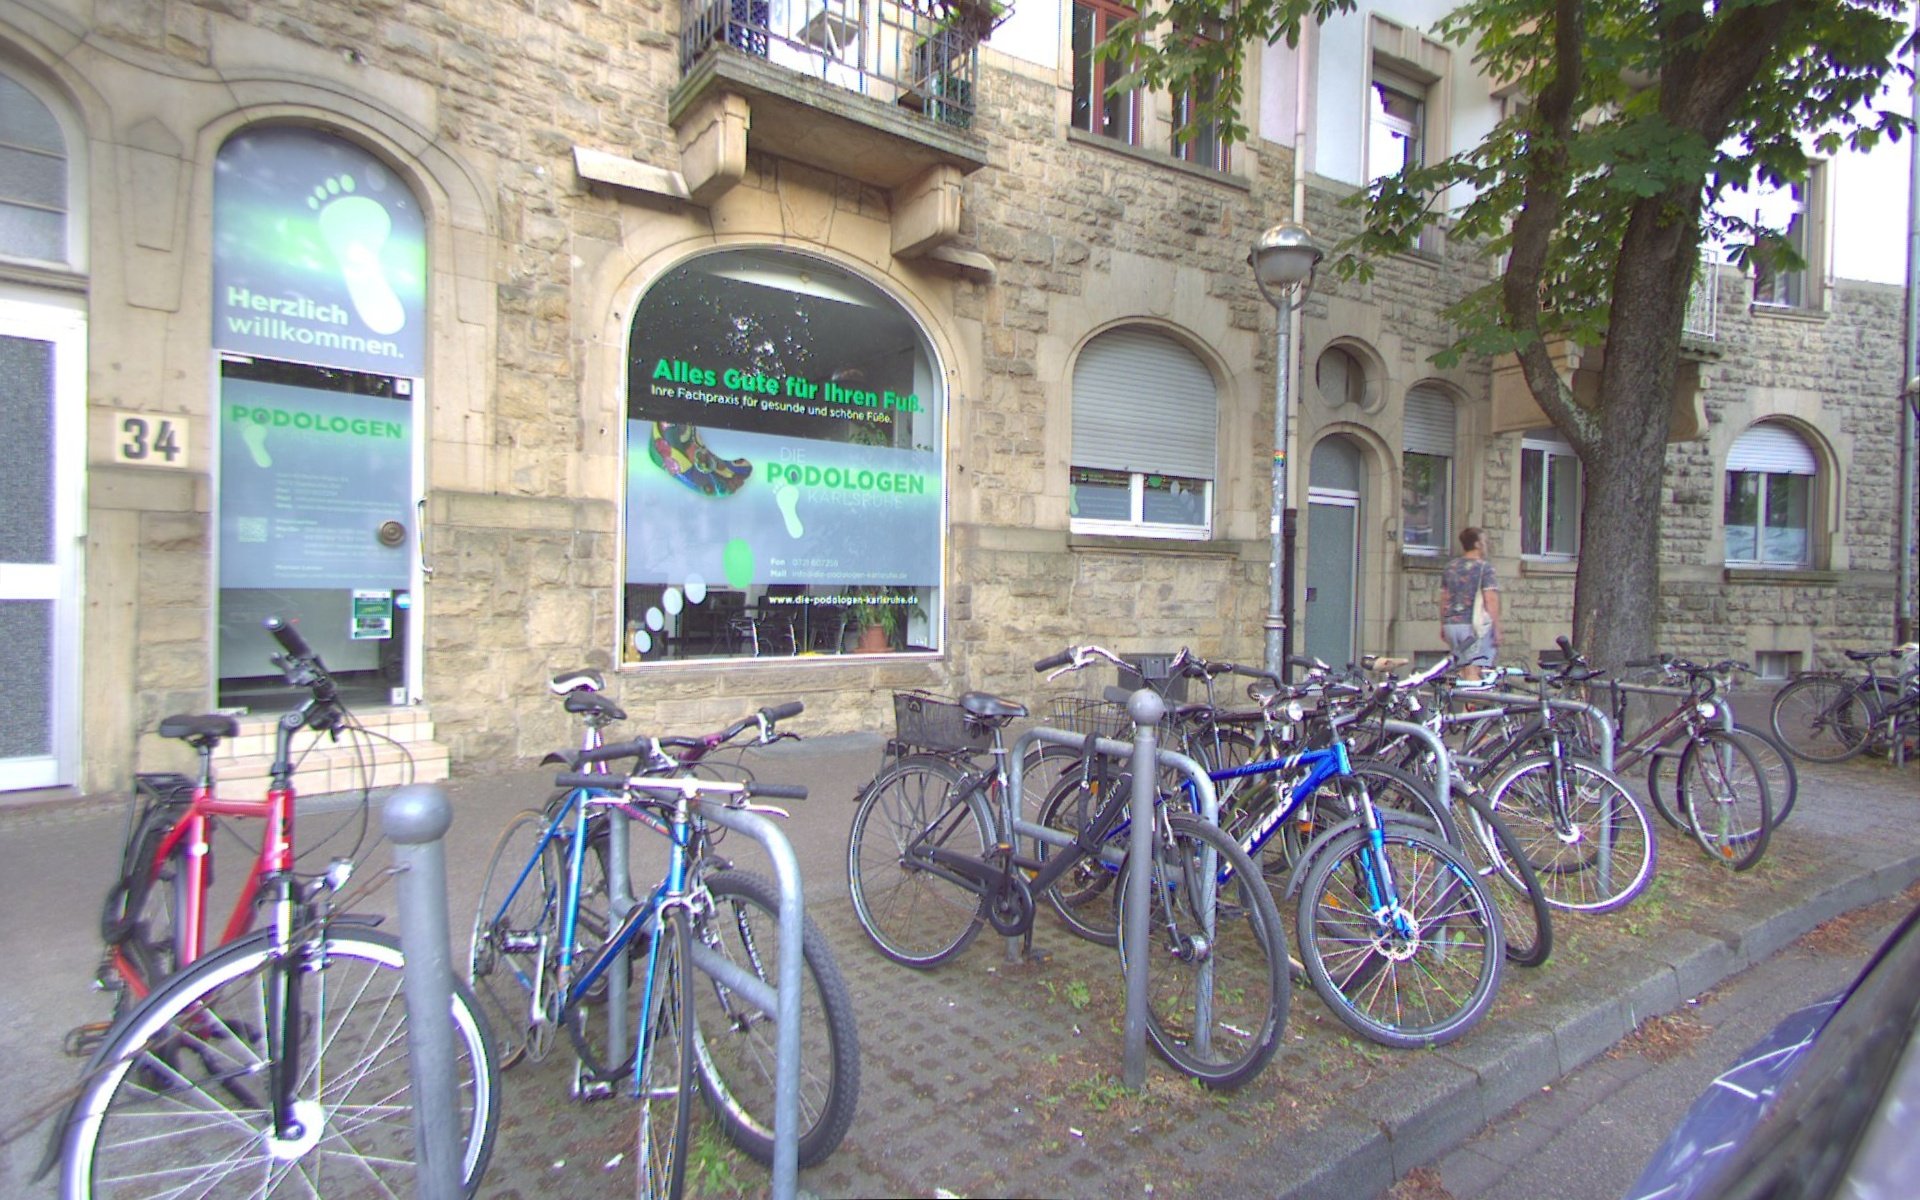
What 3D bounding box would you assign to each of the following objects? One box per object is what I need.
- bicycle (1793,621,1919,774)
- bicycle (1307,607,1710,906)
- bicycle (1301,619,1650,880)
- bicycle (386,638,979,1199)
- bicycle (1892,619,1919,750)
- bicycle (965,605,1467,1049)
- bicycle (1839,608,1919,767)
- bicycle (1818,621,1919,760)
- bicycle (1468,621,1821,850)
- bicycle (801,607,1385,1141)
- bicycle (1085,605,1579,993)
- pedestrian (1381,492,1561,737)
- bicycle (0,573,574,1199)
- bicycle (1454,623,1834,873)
[{"bbox_3d":[7.701,0.786,7.806,0.482,1.154,1.887,5,-2,-30],"label":"bicycle"},{"bbox_3d":[2.563,0.666,4.962,0.476,1.142,1.678,8,-1,-26],"label":"bicycle"},{"bbox_3d":[2.651,0.691,5.425,0.476,1.091,1.678,1,2,-27],"label":"bicycle"},{"bbox_3d":[-0.836,0.693,2.595,0.688,1.051,1.803,0,2,-43],"label":"bicycle"},{"bbox_3d":[8.987,0.790,8.393,0.410,1.159,1.860,1,2,-17],"label":"bicycle"},{"bbox_3d":[0.810,0.648,3.820,0.628,1.177,1.893,1,2,-33],"label":"bicycle"},{"bbox_3d":[8.118,0.742,7.911,0.482,1.231,1.890,-5,3,-17],"label":"bicycle"},{"bbox_3d":[8.435,0.792,8.447,0.563,1.118,1.853,0,2,-40],"label":"bicycle"},{"bbox_3d":[4.018,0.722,6.083,0.477,1.091,1.676,1,2,-34],"label":"bicycle"},{"bbox_3d":[0.294,0.653,3.288,0.630,1.177,1.887,0,2,-43],"label":"bicycle"},{"bbox_3d":[1.415,0.651,4.258,0.691,1.177,1.893,1,2,-33],"label":"bicycle"},{"bbox_3d":[4.746,0.114,9.433,1.039,2.111,1.015,2,1,-31],"label":"pedestrian"},{"bbox_3d":[-1.498,0.594,2.061,0.688,1.252,1.789,0,2,-43],"label":"bicycle"},{"bbox_3d":[3.707,0.723,5.641,0.477,1.091,1.676,1,2,-34],"label":"bicycle"}]
